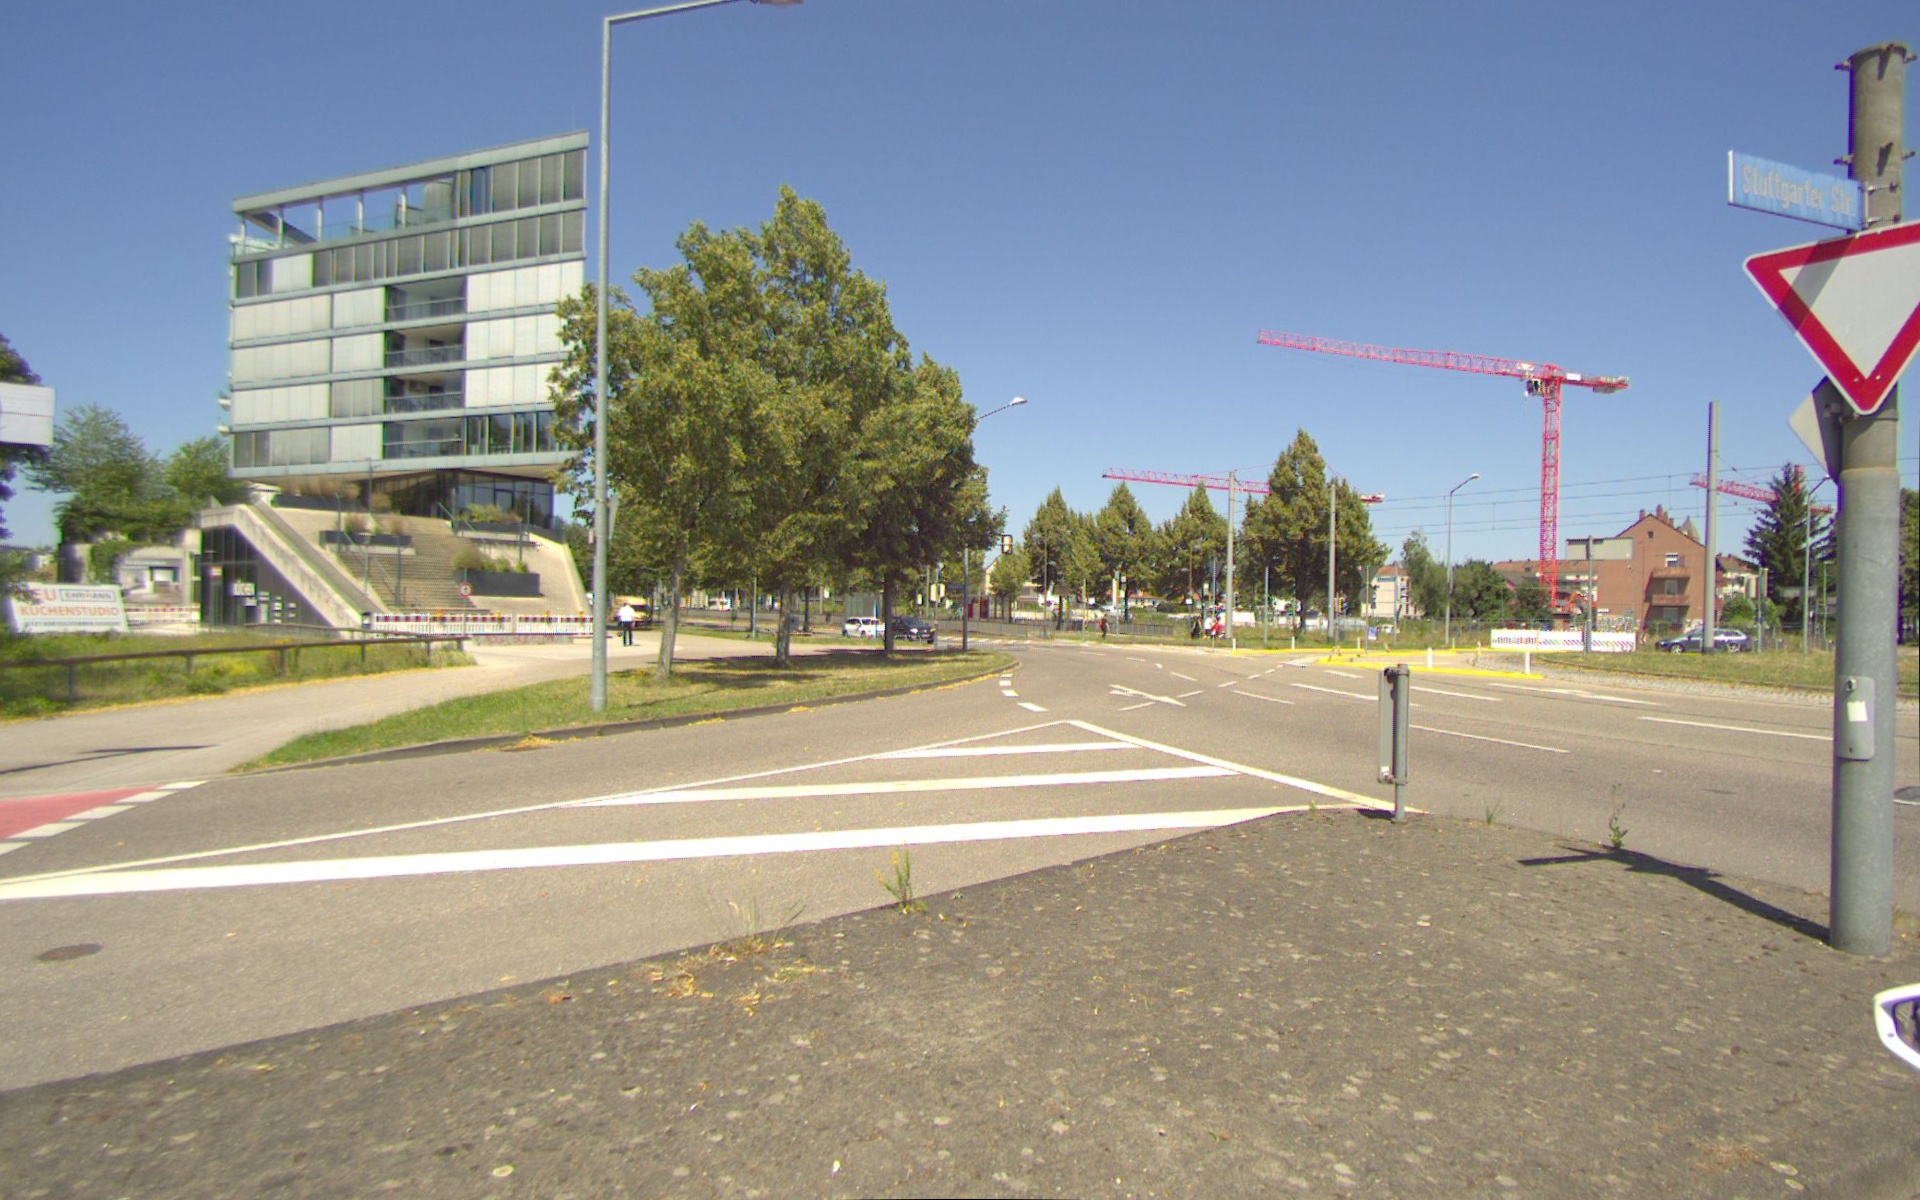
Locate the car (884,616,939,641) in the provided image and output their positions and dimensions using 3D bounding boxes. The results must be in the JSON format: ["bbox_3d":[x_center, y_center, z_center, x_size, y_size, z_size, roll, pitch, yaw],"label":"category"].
[{"bbox_3d":[-2.825,1.619,57.434,1.720,1.228,3.538,2,1,-29],"label":"car"}]

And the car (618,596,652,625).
[{"bbox_3d":[-29.734,0.968,91.859,1.979,2.541,3.962,1,-1,-34],"label":"car"}]

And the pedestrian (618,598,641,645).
[{"bbox_3d":[-13.609,0.879,41.410,0.822,1.894,0.609,2,1,-18],"label":"pedestrian"}]

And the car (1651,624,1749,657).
[{"bbox_3d":[39.536,2.160,53.790,3.927,1.483,1.997,3,1,28],"label":"car"}]

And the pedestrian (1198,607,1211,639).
[{"bbox_3d":[15.096,1.436,61.972,0.617,1.960,0.646,1,0,24],"label":"pedestrian"}]

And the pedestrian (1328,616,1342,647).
[{"bbox_3d":[25.038,2.083,67.064,0.588,2.040,0.598,2,1,-32],"label":"pedestrian"}]

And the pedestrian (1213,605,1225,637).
[{"bbox_3d":[15.999,1.296,62.061,0.617,1.960,0.646,1,0,24],"label":"pedestrian"}]

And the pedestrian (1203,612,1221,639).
[{"bbox_3d":[16.461,1.664,65.552,0.749,1.661,0.778,2,1,-19],"label":"pedestrian"}]

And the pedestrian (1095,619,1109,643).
[{"bbox_3d":[8.463,1.838,59.994,0.590,1.425,0.539,1,0,-28],"label":"pedestrian"}]

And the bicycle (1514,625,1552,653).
[{"bbox_3d":[38.107,2.605,66.838,2.043,1.707,0.560,3,1,9],"label":"bicycle"}]

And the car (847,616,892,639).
[{"bbox_3d":[-5.624,1.710,62.255,1.558,1.242,3.297,2,1,-29],"label":"car"}]
